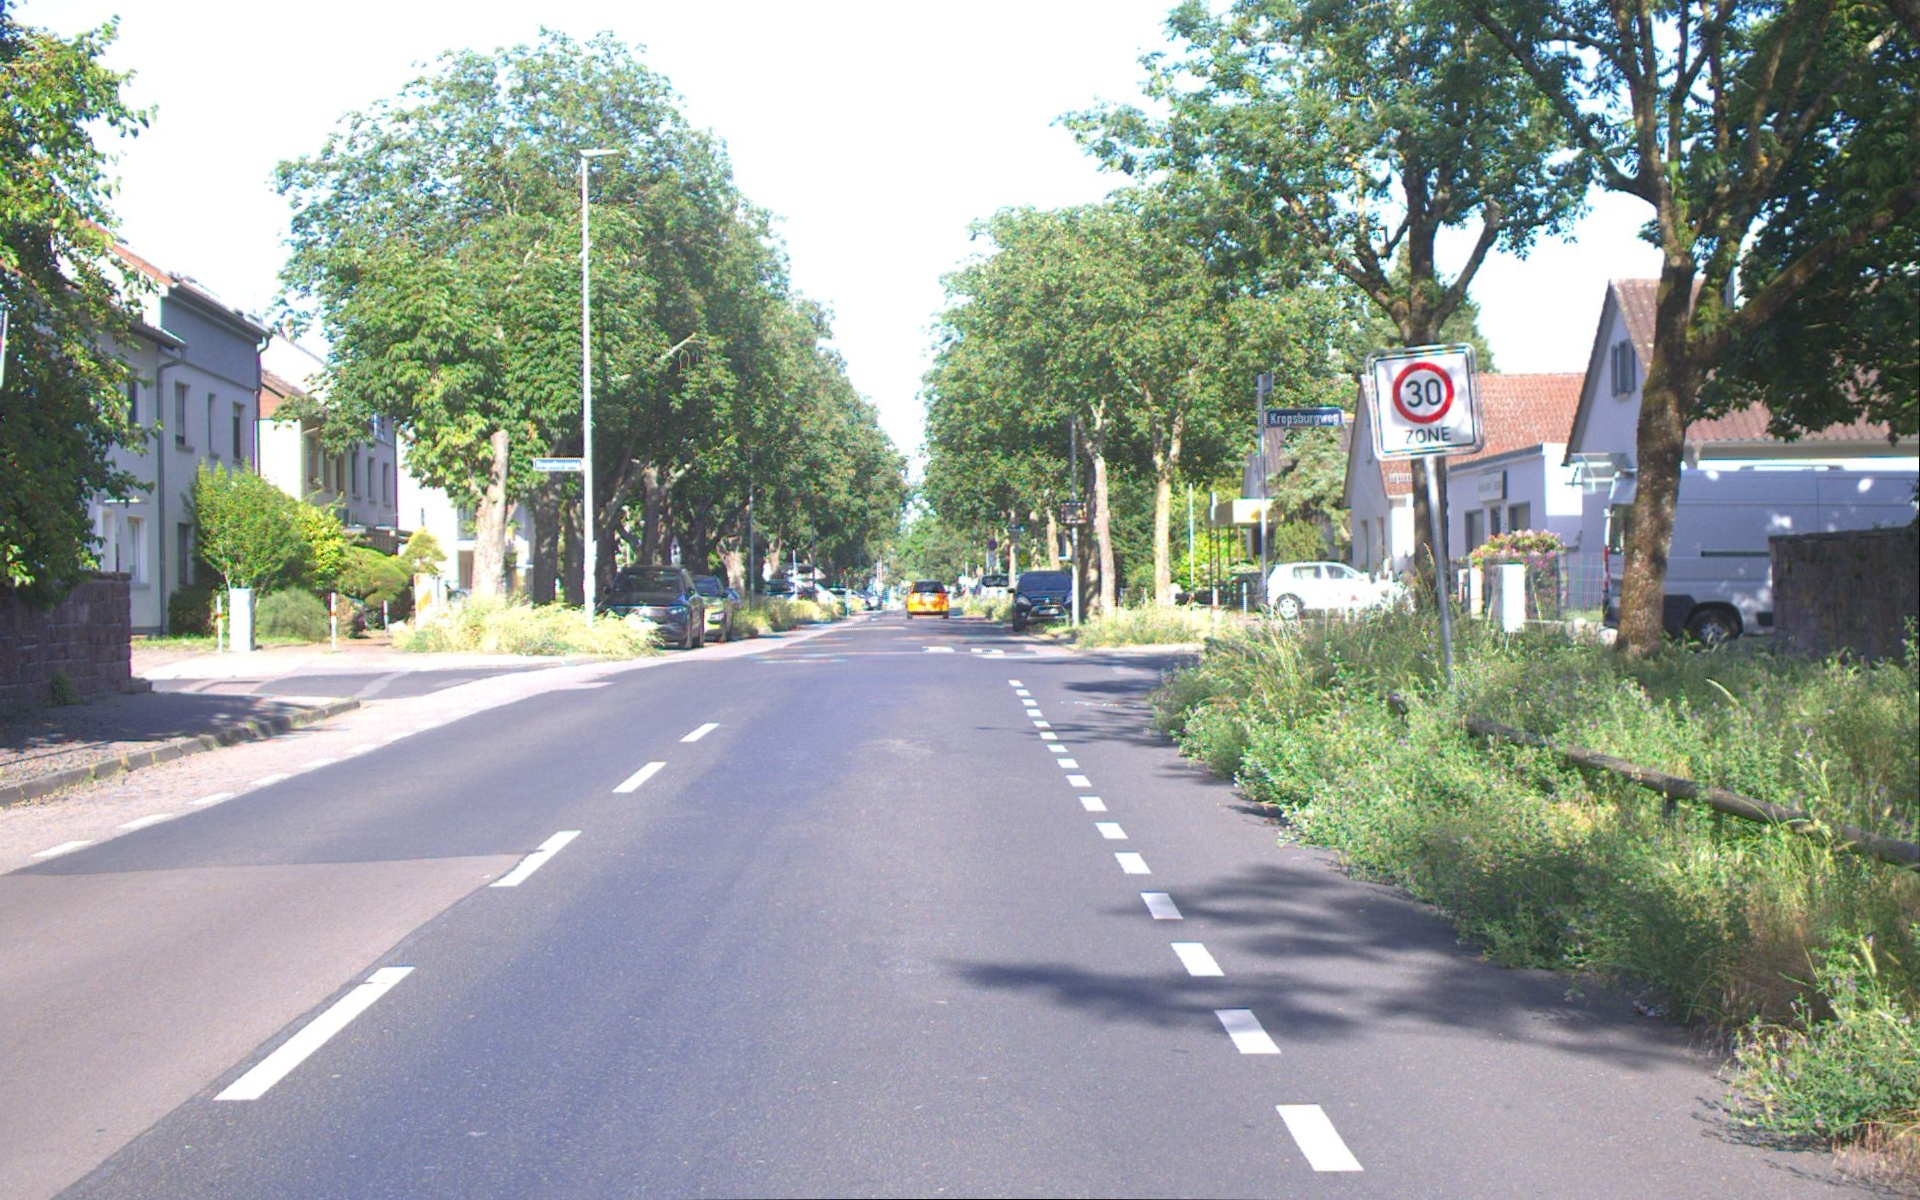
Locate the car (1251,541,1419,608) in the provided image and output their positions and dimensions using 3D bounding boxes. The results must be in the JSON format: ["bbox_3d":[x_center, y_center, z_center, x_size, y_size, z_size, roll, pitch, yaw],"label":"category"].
[{"bbox_3d":[9.587,-0.651,88.060,3.987,1.483,1.902,-3,2,-1],"label":"car"}]

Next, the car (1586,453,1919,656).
[{"bbox_3d":[11.308,-0.628,45.309,5.594,2.530,2.266,-1,1,-3],"label":"car"}]

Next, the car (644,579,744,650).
[{"bbox_3d":[-6.199,0.355,80.557,1.939,1.603,4.383,0,-1,1],"label":"car"}]

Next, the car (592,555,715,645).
[{"bbox_3d":[-6.090,0.024,68.783,1.953,1.721,4.875,0,-1,1],"label":"car"}]

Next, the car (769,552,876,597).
[{"bbox_3d":[-7.134,-1.346,178.467,5.498,2.240,2.517,0,2,-2],"label":"car"}]

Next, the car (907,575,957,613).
[{"bbox_3d":[-1.166,-0.238,139.913,1.888,1.474,3.888,1,0,-2],"label":"car"}]

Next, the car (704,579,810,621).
[{"bbox_3d":[-8.902,-0.001,150.426,4.545,1.759,2.001,0,2,-5],"label":"car"}]

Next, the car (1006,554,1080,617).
[{"bbox_3d":[2.297,-0.388,96.363,1.853,1.620,4.469,-2,0,-1],"label":"car"}]

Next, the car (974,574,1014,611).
[{"bbox_3d":[1.659,-0.371,169.515,1.902,1.768,4.301,0,0,0],"label":"car"}]

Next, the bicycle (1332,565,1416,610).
[{"bbox_3d":[10.233,-0.310,85.066,1.958,0.995,0.576,-2,2,-2],"label":"bicycle"}]
